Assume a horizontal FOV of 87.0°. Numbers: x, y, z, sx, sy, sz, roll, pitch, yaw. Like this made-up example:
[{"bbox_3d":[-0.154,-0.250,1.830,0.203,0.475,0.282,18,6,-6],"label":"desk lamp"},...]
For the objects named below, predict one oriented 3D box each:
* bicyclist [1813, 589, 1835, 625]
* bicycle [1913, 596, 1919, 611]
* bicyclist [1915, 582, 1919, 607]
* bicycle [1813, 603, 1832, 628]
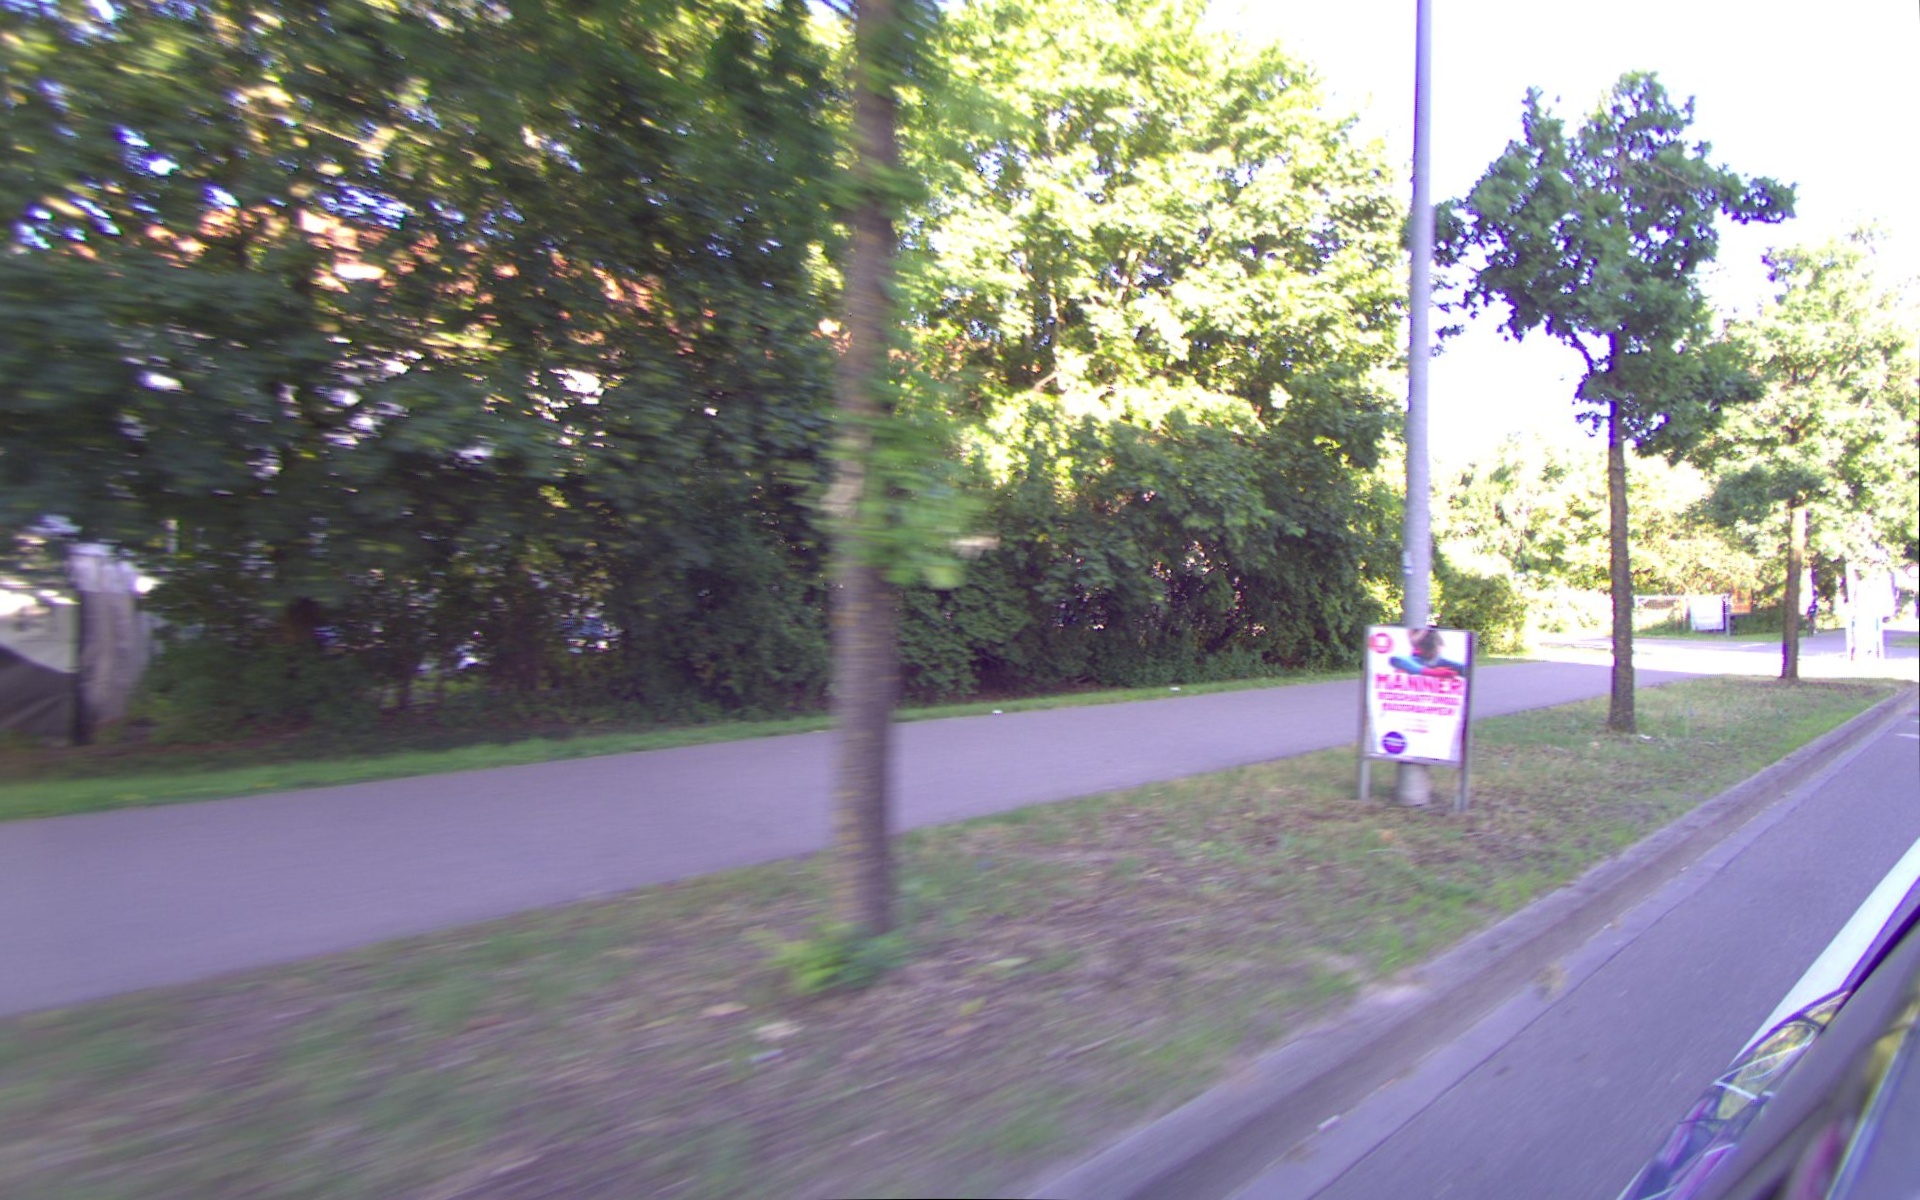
[{"bbox_3d":[38.288,0.299,44.839,0.685,1.541,1.019,1,1,45],"label":"bicyclist"},{"bbox_3d":[63.469,0.228,66.869,2.012,1.004,0.572,0,0,-43],"label":"bicycle"},{"bbox_3d":[63.384,-0.383,66.736,0.850,1.630,0.565,0,1,-43],"label":"bicyclist"},{"bbox_3d":[38.252,0.684,44.885,0.516,1.086,1.905,1,1,44],"label":"bicycle"}]
